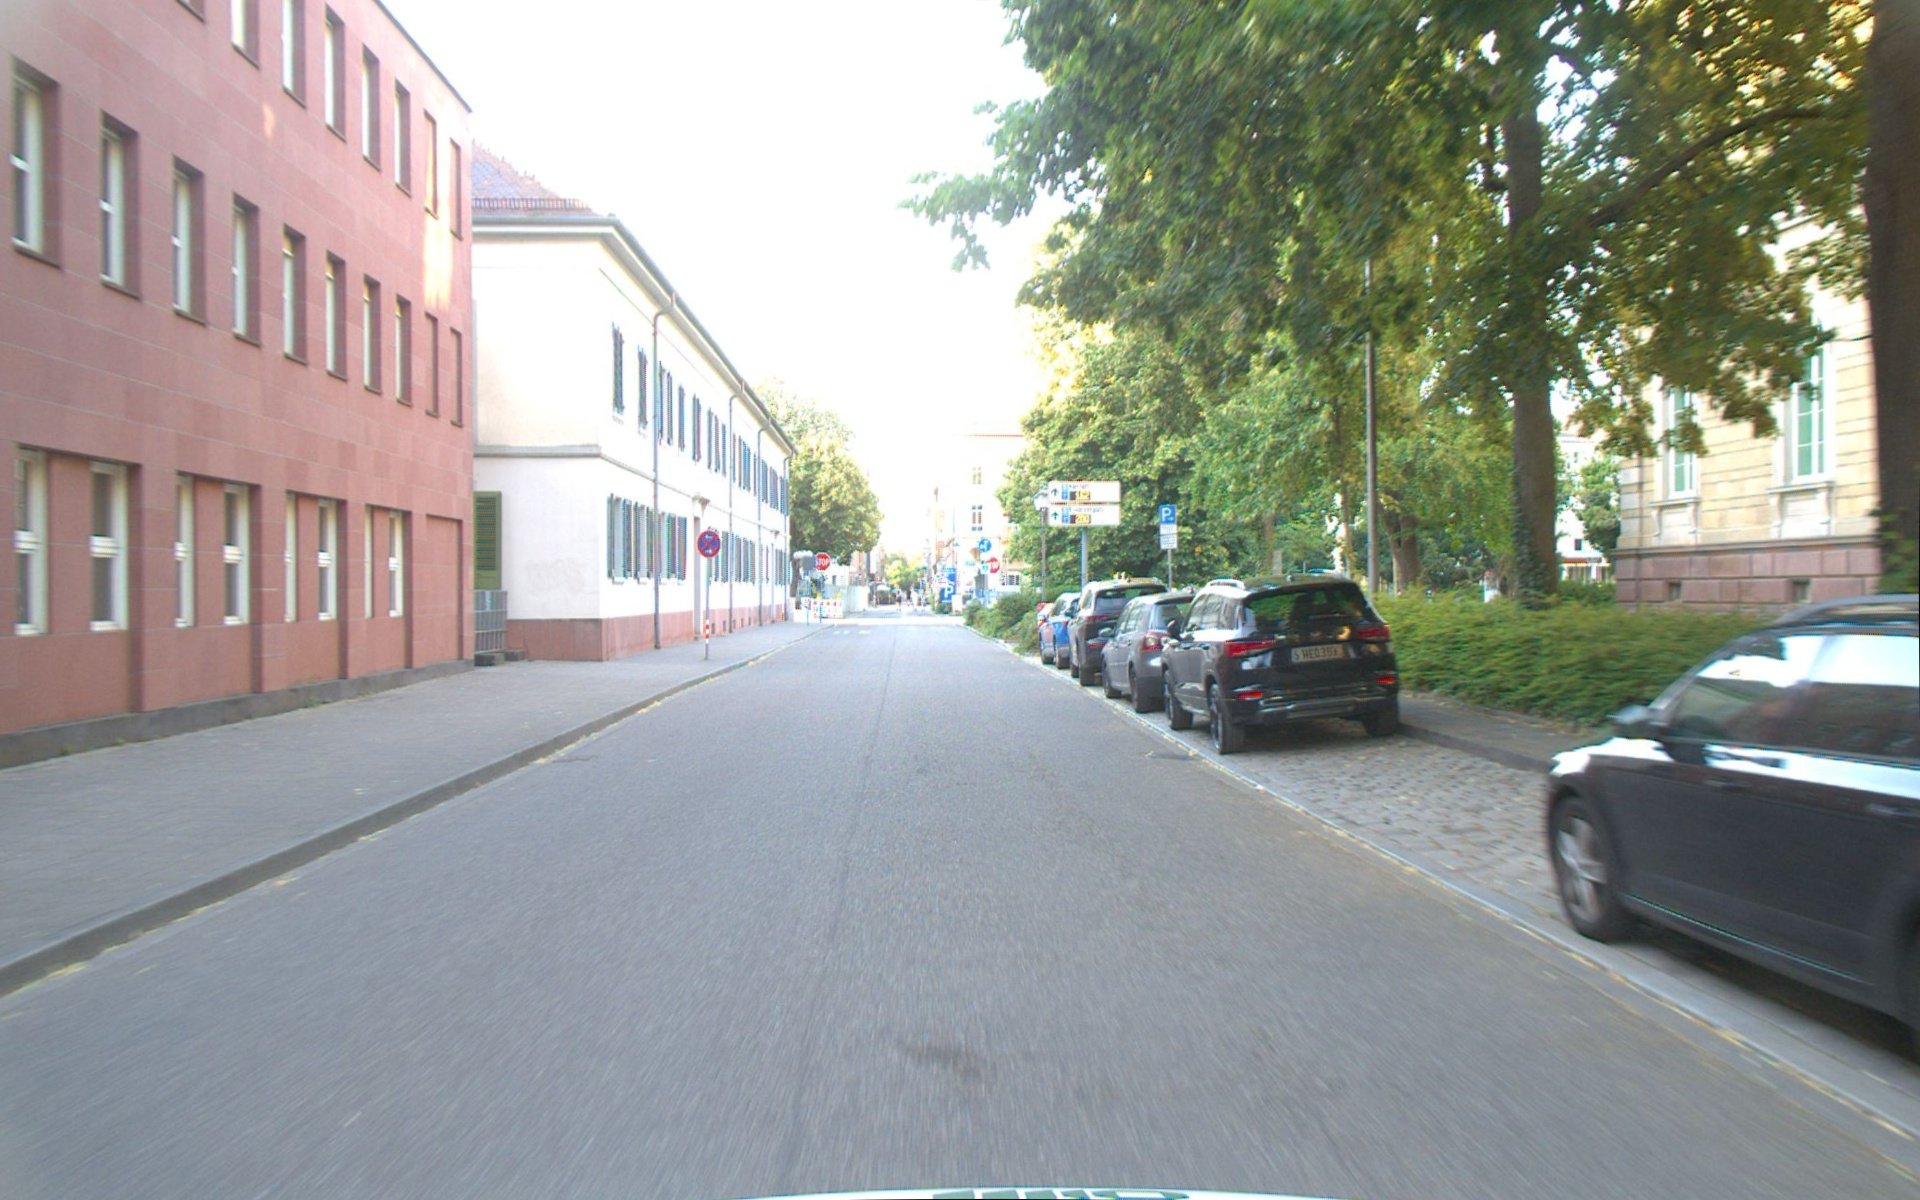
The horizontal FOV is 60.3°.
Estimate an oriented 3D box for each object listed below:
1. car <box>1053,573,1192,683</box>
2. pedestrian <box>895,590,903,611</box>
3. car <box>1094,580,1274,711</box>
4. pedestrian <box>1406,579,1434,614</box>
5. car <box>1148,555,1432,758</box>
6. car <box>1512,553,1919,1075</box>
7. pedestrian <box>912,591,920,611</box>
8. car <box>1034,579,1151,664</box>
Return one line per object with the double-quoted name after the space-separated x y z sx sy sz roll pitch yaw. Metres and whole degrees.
2.655 0.451 28.059 1.689 1.680 4.710 -1 0 -2 "car"
-5.263 0.071 142.065 0.644 1.790 0.745 -1 0 -1 "pedestrian"
2.921 0.571 22.429 1.689 1.565 4.187 -1 0 -2 "car"
18.053 -0.142 64.965 0.747 1.371 0.784 -1 0 -18 "pedestrian"
3.232 0.476 17.101 1.771 1.679 4.417 -5 1 -2 "car"
3.620 0.619 5.770 1.700 1.533 4.520 -1 0 -2 "car"
-3.717 0.083 140.289 0.644 1.645 0.745 -1 0 -2 "pedestrian"
2.654 0.415 34.196 1.690 1.514 4.607 -4 0 -3 "car"
